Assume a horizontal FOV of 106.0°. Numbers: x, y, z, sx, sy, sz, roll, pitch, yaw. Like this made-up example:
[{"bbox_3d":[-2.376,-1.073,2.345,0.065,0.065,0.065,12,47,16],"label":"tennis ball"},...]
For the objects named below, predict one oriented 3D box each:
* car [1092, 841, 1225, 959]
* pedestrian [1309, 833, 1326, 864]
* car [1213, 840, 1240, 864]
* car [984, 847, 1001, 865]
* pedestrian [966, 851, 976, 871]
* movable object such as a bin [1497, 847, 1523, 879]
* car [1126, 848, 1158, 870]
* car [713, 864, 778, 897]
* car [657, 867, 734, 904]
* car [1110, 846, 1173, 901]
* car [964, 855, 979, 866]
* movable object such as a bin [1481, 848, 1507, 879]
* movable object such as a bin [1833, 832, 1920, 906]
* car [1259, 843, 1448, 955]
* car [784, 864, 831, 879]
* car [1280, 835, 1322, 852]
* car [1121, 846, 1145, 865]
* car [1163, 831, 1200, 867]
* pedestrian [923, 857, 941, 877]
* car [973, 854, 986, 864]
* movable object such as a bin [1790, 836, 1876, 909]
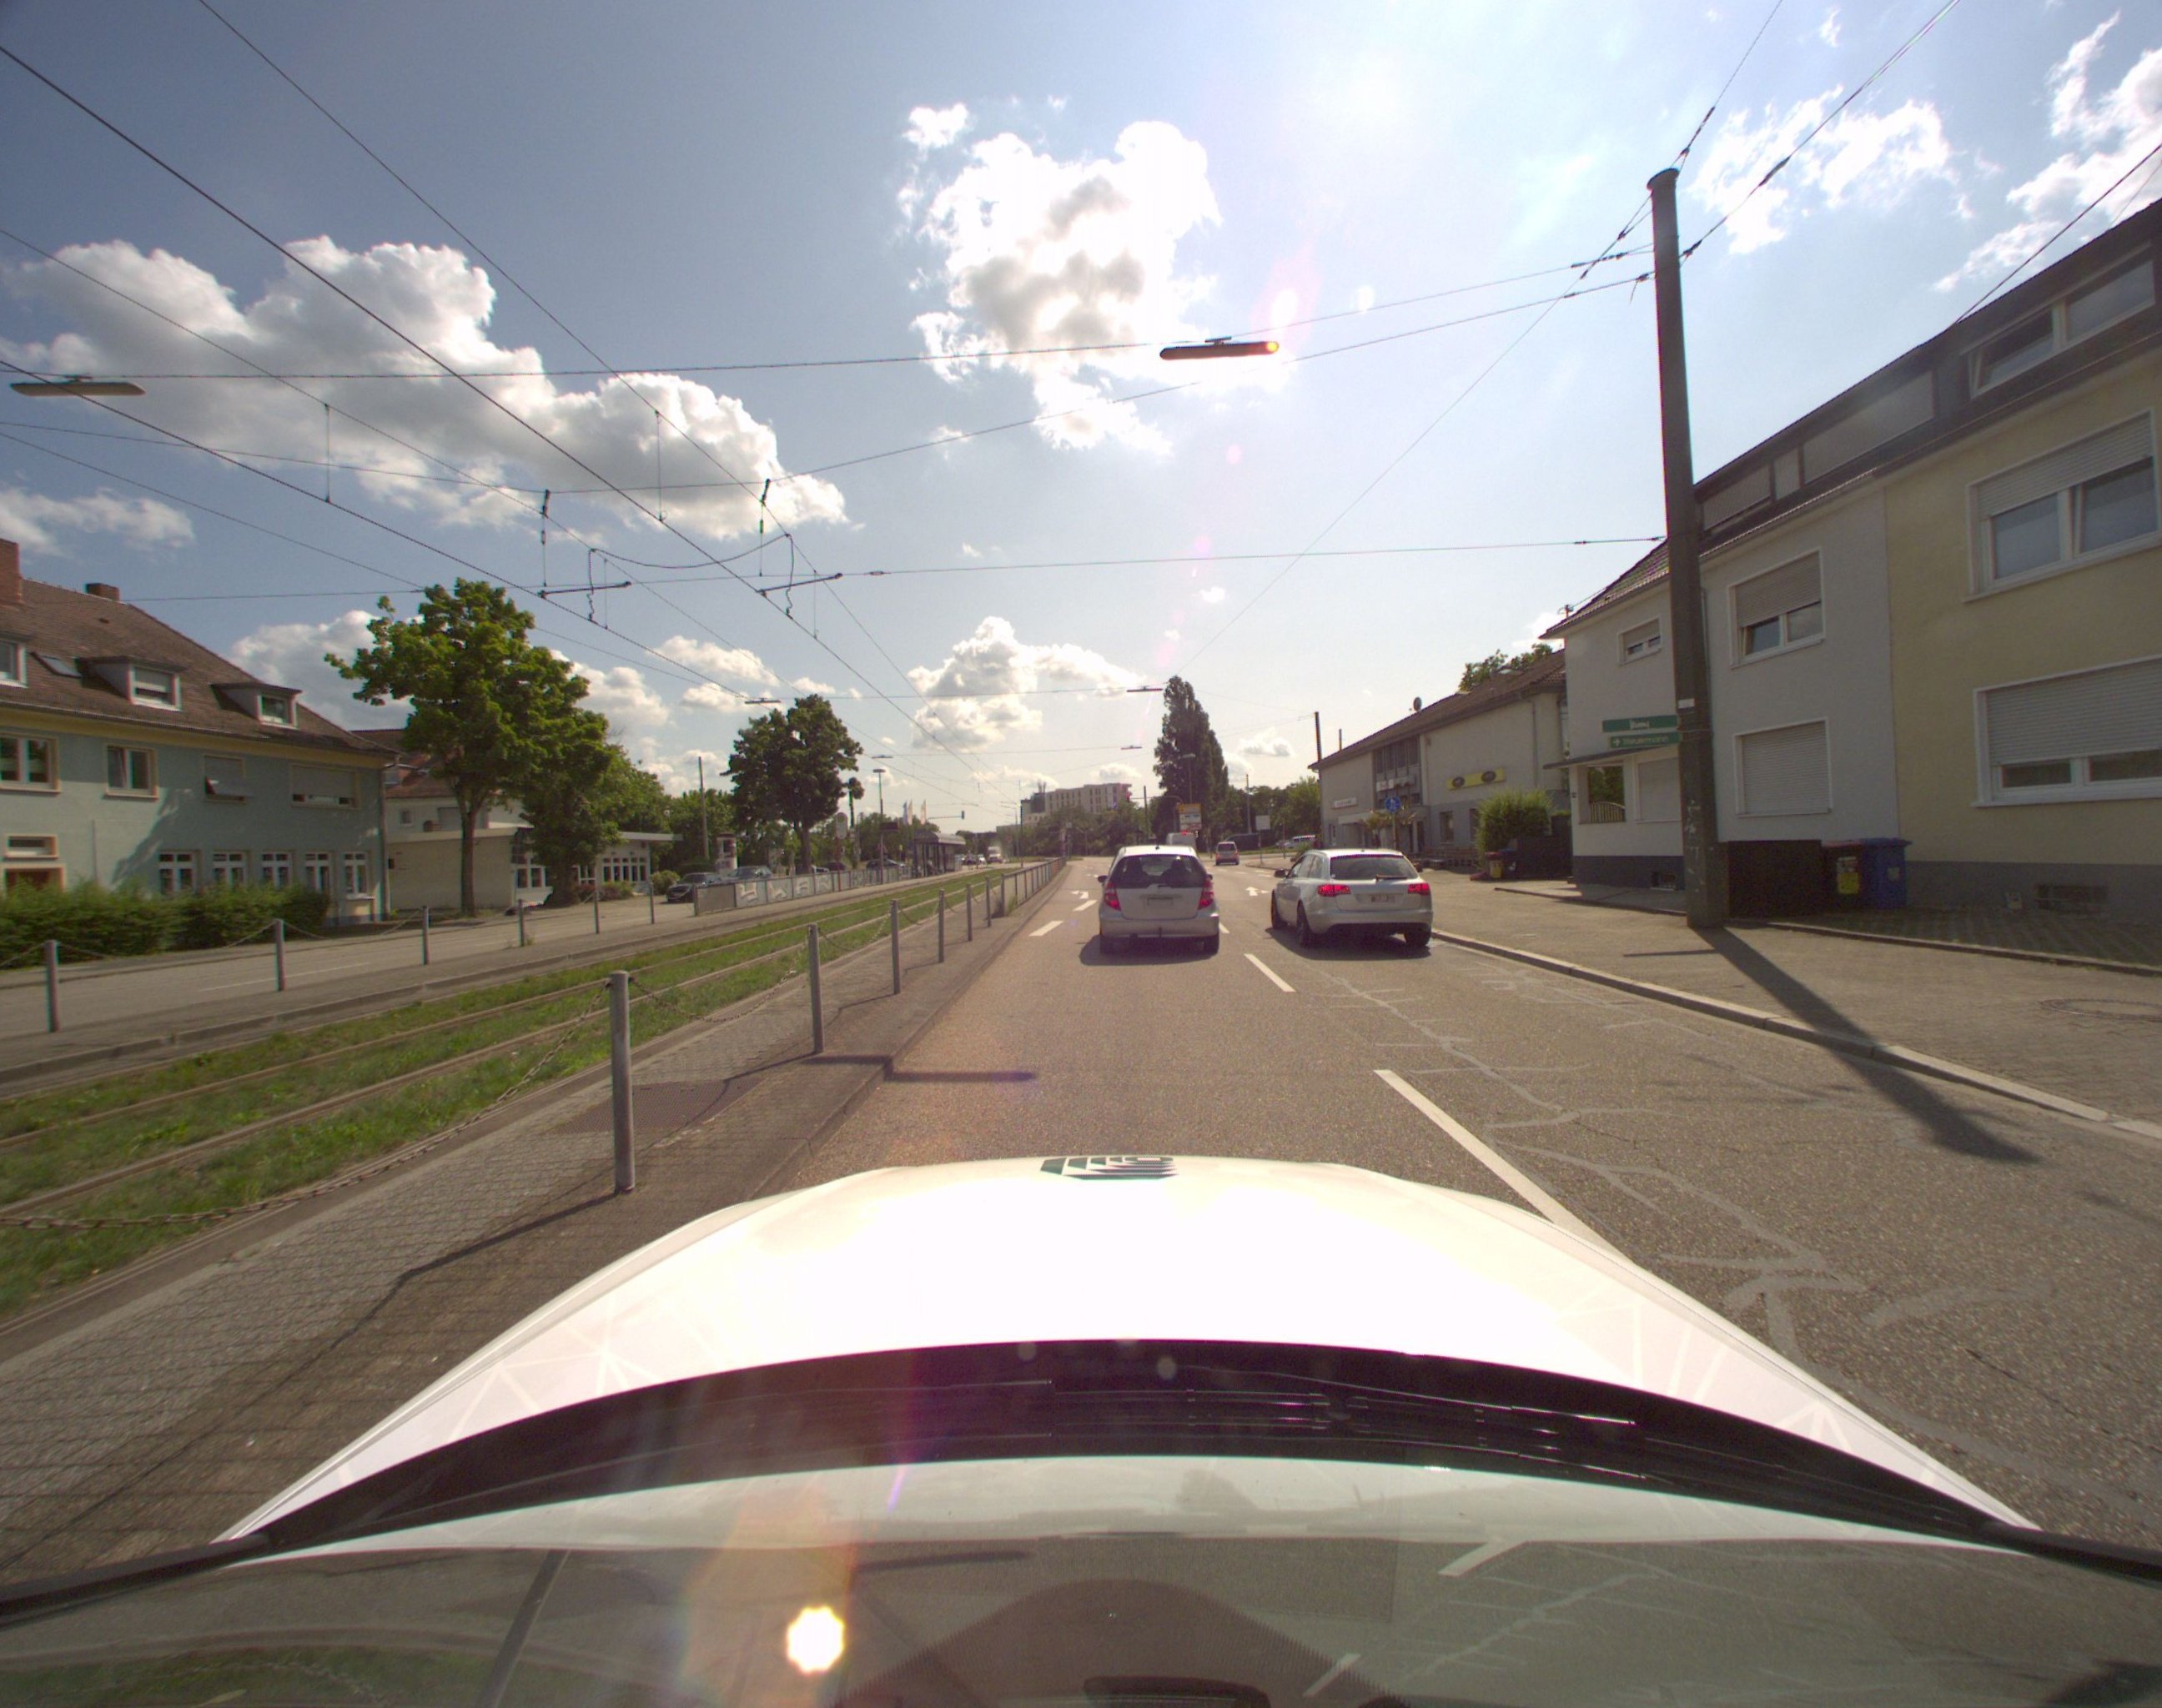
[{"bbox_3d":[1.265,0.617,13.309,1.778,1.576,4.101,-2,0,5],"label":"car"},{"bbox_3d":[14.009,-0.325,48.261,0.719,1.782,0.703,-5,0,2],"label":"pedestrian"},{"bbox_3d":[11.454,-0.171,63.823,1.872,1.731,4.107,-3,-1,12],"label":"car"},{"bbox_3d":[-12.941,0.302,119.384,1.988,2.606,4.875,-1,0,-2],"label":"car"},{"bbox_3d":[-9.934,0.600,73.514,0.805,1.795,0.708,-2,0,-3],"label":"pedestrian"},{"bbox_3d":[13.013,0.255,24.690,0.440,0.935,0.549,-3,0,-5],"label":"movable object such as a bin"},{"bbox_3d":[4.148,0.337,55.679,1.863,1.419,4.099,-1,0,0],"label":"car"},{"bbox_3d":[-19.314,1.473,47.093,2.057,1.614,4.744,-3,0,-5],"label":"car"},{"bbox_3d":[-19.250,1.525,40.859,1.779,1.584,3.933,-2,0,2],"label":"car"},{"bbox_3d":[1.846,0.521,25.116,1.731,1.492,4.634,-2,0,4],"label":"car"},{"bbox_3d":[-15.944,0.956,118.628,1.892,1.541,3.724,-1,0,-4],"label":"car"},{"bbox_3d":[12.512,0.286,24.688,0.444,0.895,0.545,-3,0,-5],"label":"movable object such as a bin"},{"bbox_3d":[11.984,0.218,12.285,0.643,1.055,0.659,-2,0,0],"label":"movable object such as a bin"},{"bbox_3d":[4.249,0.608,13.502,1.846,1.492,4.541,-2,0,4],"label":"car"},{"bbox_3d":[-30.222,1.885,90.207,4.441,1.514,2.002,-1,0,3],"label":"car"},{"bbox_3d":[27.165,-1.287,100.556,4.654,1.936,2.003,-2,0,5],"label":"car"},{"bbox_3d":[4.246,0.117,67.123,1.739,1.499,4.379,-2,0,0],"label":"car"},{"bbox_3d":[7.544,-0.391,61.773,2.034,2.557,5.230,-2,0,0],"label":"car"},{"bbox_3d":[-10.401,0.878,56.879,1.055,1.376,0.860,-1,0,0],"label":"pedestrian"},{"bbox_3d":[-15.829,0.760,127.163,1.798,1.541,4.159,-1,0,-3],"label":"car"},{"bbox_3d":[11.283,0.268,12.243,0.636,1.047,0.685,-2,0,0],"label":"movable object such as a bin"}]
